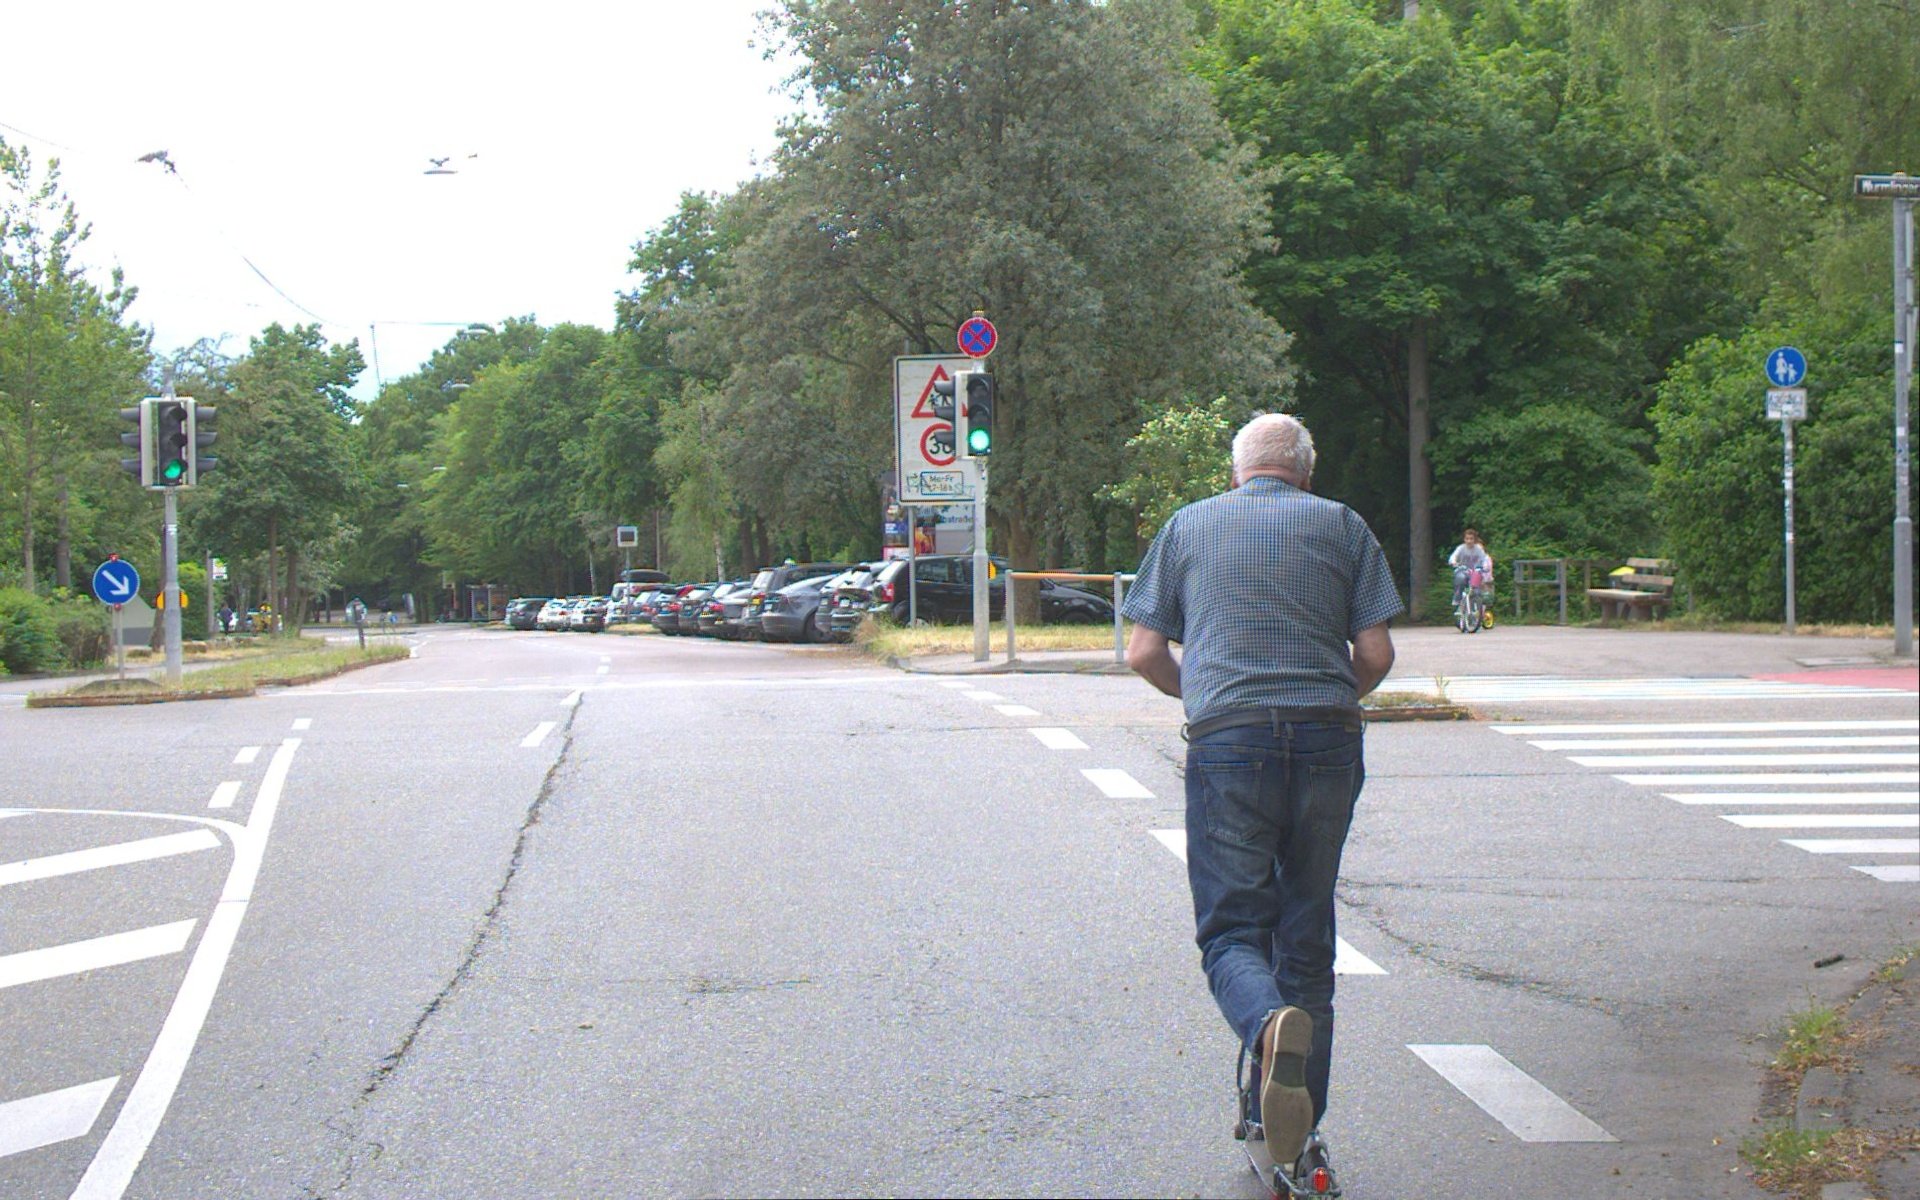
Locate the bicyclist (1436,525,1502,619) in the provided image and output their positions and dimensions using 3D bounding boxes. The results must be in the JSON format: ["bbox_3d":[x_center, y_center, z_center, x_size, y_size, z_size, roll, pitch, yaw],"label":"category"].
[{"bbox_3d":[6.456,-0.355,43.628,0.639,1.158,0.804,-1,2,-5],"label":"bicyclist"}]

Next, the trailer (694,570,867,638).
[{"bbox_3d":[-4.170,0.088,79.750,3.687,1.530,1.646,0,0,-20],"label":"trailer"}]

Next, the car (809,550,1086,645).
[{"bbox_3d":[-0.203,-0.045,55.172,4.134,1.471,1.577,-1,0,-19],"label":"car"}]

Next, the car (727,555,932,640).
[{"bbox_3d":[-2.744,-0.060,72.283,3.984,1.719,1.681,-1,-1,-18],"label":"car"}]

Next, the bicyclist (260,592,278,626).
[{"bbox_3d":[-34.825,0.436,173.188,0.844,1.692,0.714,-1,0,-11],"label":"bicyclist"}]

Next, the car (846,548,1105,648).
[{"bbox_3d":[0.221,-0.040,52.602,3.715,1.471,1.577,-1,0,-11],"label":"car"}]

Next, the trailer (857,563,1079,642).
[{"bbox_3d":[0.127,0.052,58.101,3.401,1.262,1.617,-1,-1,-18],"label":"trailer"}]

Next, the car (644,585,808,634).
[{"bbox_3d":[-6.627,0.277,97.442,4.311,1.336,1.734,-1,-1,-22],"label":"car"}]

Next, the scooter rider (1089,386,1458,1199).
[{"bbox_3d":[0.639,0.428,7.331,0.681,1.724,1.197,-1,2,1],"label":"scooter rider"}]

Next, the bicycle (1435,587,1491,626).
[{"bbox_3d":[6.691,0.088,45.751,0.518,0.496,0.988,-1,-1,-4],"label":"bicycle"}]

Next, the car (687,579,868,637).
[{"bbox_3d":[-4.358,0.191,82.054,4.036,1.323,1.560,-1,-1,-17],"label":"car"}]

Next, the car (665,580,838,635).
[{"bbox_3d":[-5.594,0.194,92.256,4.343,1.440,1.634,-1,0,-23],"label":"car"}]

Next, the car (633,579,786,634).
[{"bbox_3d":[-7.313,0.182,100.398,4.071,1.510,1.733,-1,0,-31],"label":"car"}]

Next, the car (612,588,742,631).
[{"bbox_3d":[-9.504,0.321,115.447,3.964,1.401,1.757,0,0,-23],"label":"car"}]

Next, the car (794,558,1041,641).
[{"bbox_3d":[-0.784,-0.014,62.857,4.218,1.459,1.635,-1,0,-17],"label":"car"}]

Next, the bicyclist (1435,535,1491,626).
[{"bbox_3d":[6.692,-0.252,45.761,0.518,1.183,0.967,-1,-1,-4],"label":"bicyclist"}]

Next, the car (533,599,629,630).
[{"bbox_3d":[-16.819,0.647,152.604,3.885,1.305,1.743,-1,0,-33],"label":"car"}]

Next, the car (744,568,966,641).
[{"bbox_3d":[-2.129,0.098,69.475,4.158,1.402,1.698,-1,-1,-19],"label":"car"}]

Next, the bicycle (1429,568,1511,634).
[{"bbox_3d":[6.469,0.004,43.667,0.639,0.756,1.681,-1,2,-5],"label":"bicycle"}]

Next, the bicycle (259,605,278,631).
[{"bbox_3d":[-34.802,0.924,173.089,0.844,1.262,2.652,-1,1,-10],"label":"bicycle"}]

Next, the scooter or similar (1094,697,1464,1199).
[{"bbox_3d":[0.654,0.825,7.467,0.681,1.135,1.460,-1,2,1],"label":"scooter or similar"}]
